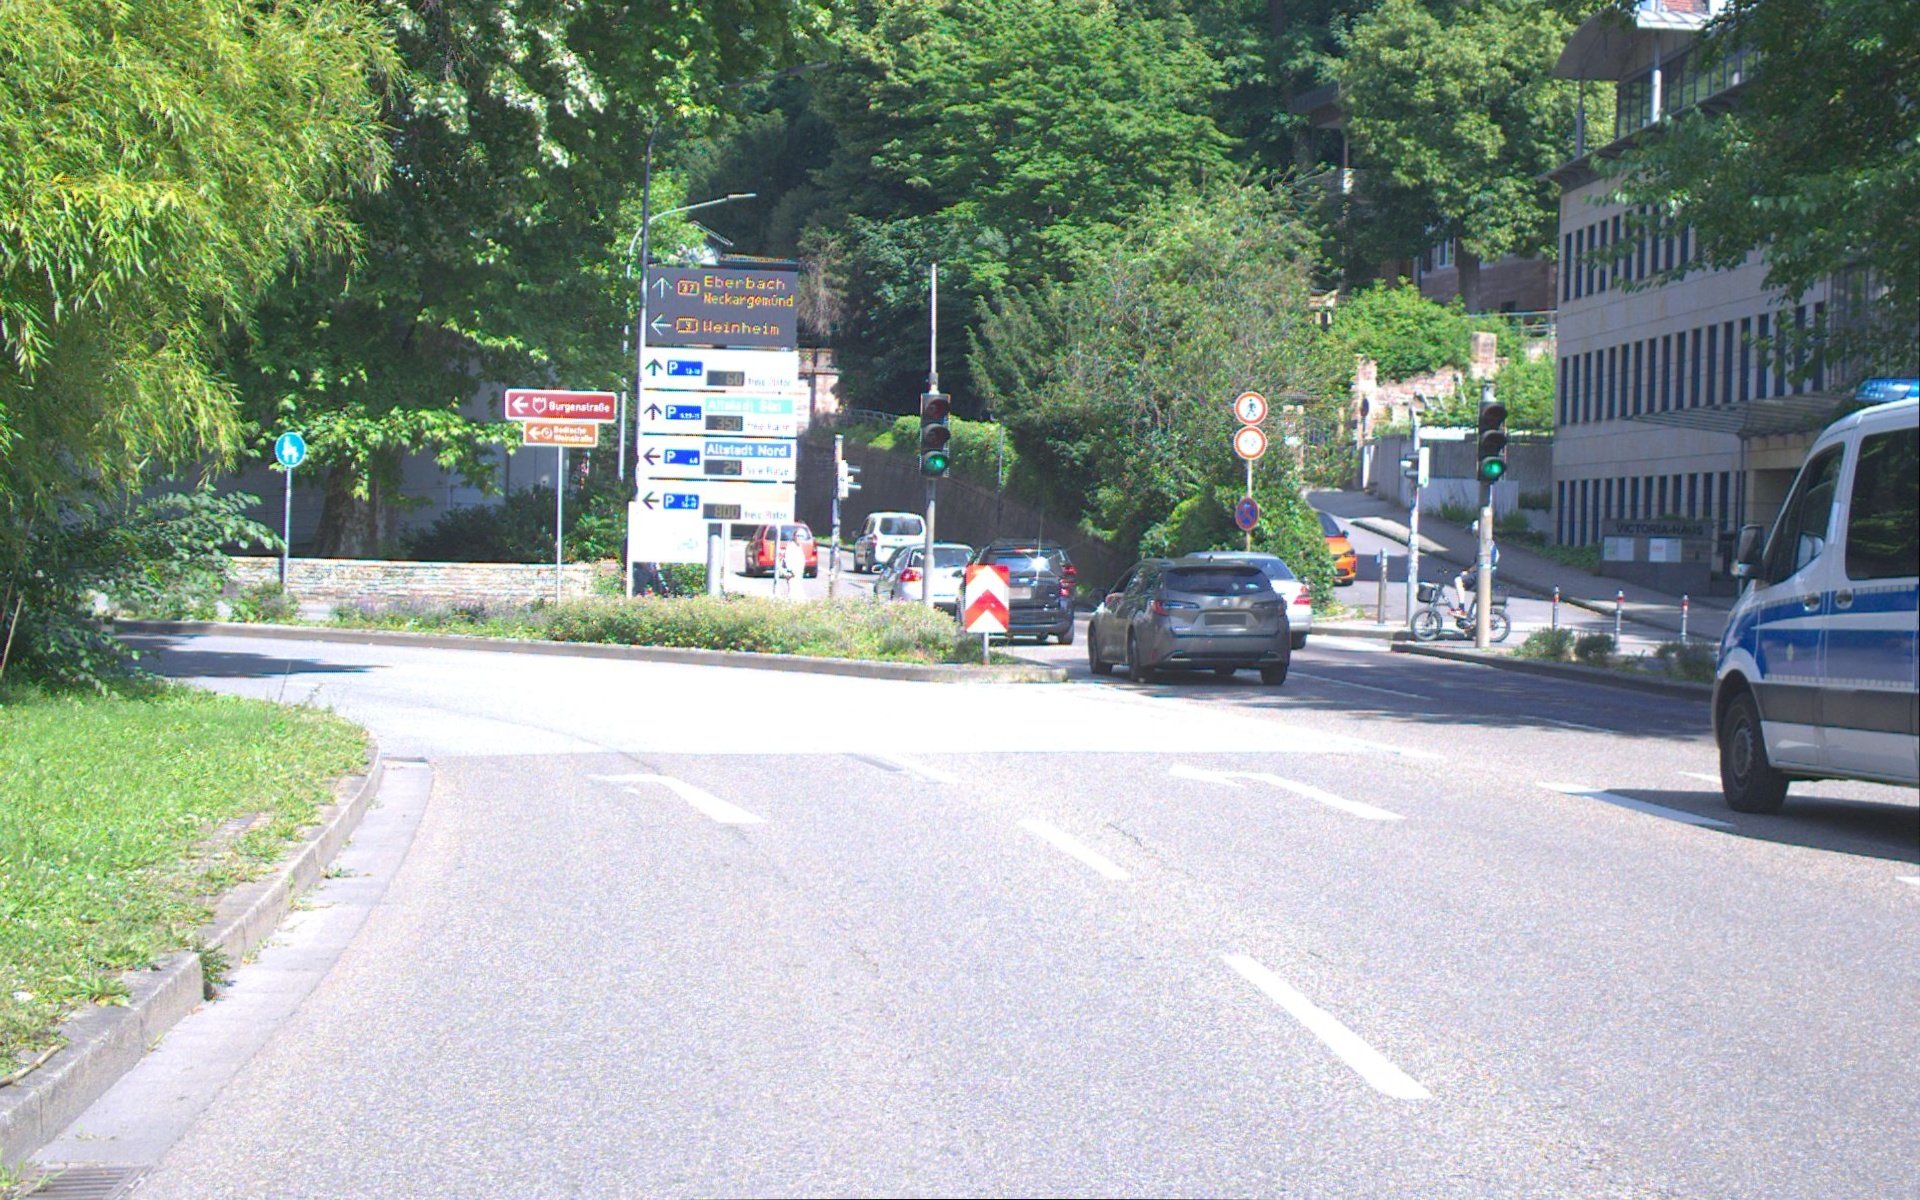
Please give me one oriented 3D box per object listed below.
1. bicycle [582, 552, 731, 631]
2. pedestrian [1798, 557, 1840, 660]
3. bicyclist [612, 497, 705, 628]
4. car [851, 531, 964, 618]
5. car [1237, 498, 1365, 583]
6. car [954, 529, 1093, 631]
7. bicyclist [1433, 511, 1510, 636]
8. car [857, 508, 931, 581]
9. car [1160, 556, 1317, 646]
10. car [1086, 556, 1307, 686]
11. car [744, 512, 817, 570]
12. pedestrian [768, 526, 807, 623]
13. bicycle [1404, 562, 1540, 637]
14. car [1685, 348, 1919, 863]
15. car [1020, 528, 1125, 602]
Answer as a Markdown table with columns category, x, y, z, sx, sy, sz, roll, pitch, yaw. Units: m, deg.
| category | x | y | z | sx | sy | sz | roll | pitch | yaw |
| --- | --- | --- | --- | --- | --- | --- | --- | --- | --- |
| bicycle | -4.571 | -0.138 | 51.780 | 2.078 | 1.109 | 0.756 | 2 | 1 | 20 |
| pedestrian | 12.291 | 0.122 | 49.177 | 0.489 | 1.453 | 0.733 | 1 | 1 | 19 |
| bicyclist | -4.536 | -0.563 | 51.756 | 1.127 | 1.926 | 0.747 | 2 | 1 | 21 |
| car | -0.980 | -0.479 | 62.242 | 1.756 | 1.456 | 3.646 | 2 | 1 | -5 |
| car | 7.089 | -1.239 | 71.883 | 1.931 | 1.691 | 4.001 | 1 | 1 | -5 |
| car | 0.948 | -0.331 | 53.311 | 1.756 | 1.456 | 3.495 | 2 | 1 | -5 |
| bicyclist | 8.045 | -0.421 | 54.090 | 1.126 | 1.926 | 0.748 | 2 | 1 | 8 |
| car | -1.843 | -1.542 | 95.227 | 1.756 | 1.931 | 3.495 | 2 | 1 | -5 |
| car | 4.137 | -0.009 | 51.564 | 1.756 | 1.209 | 3.495 | 2 | 1 | -5 |
| car | 2.690 | 0.210 | 39.881 | 1.756 | 1.329 | 3.803 | 2 | 1 | -8 |
| car | -4.753 | -1.565 | 90.661 | 1.756 | 1.456 | 3.495 | 2 | 1 | -5 |
| pedestrian | -2.889 | -0.433 | 57.629 | 0.547 | 1.615 | 0.634 | 1 | 2 | 5 |
| bicycle | 8.052 | -0.012 | 54.095 | 2.077 | 1.109 | 0.756 | 2 | 1 | 8 |
| car | 5.592 | 0.031 | 18.032 | 2.073 | 2.500 | 4.930 | 2 | 1 | -5 |
| car | 2.361 | -0.763 | 73.025 | 1.756 | 1.456 | 3.646 | 2 | 1 | -5 |
